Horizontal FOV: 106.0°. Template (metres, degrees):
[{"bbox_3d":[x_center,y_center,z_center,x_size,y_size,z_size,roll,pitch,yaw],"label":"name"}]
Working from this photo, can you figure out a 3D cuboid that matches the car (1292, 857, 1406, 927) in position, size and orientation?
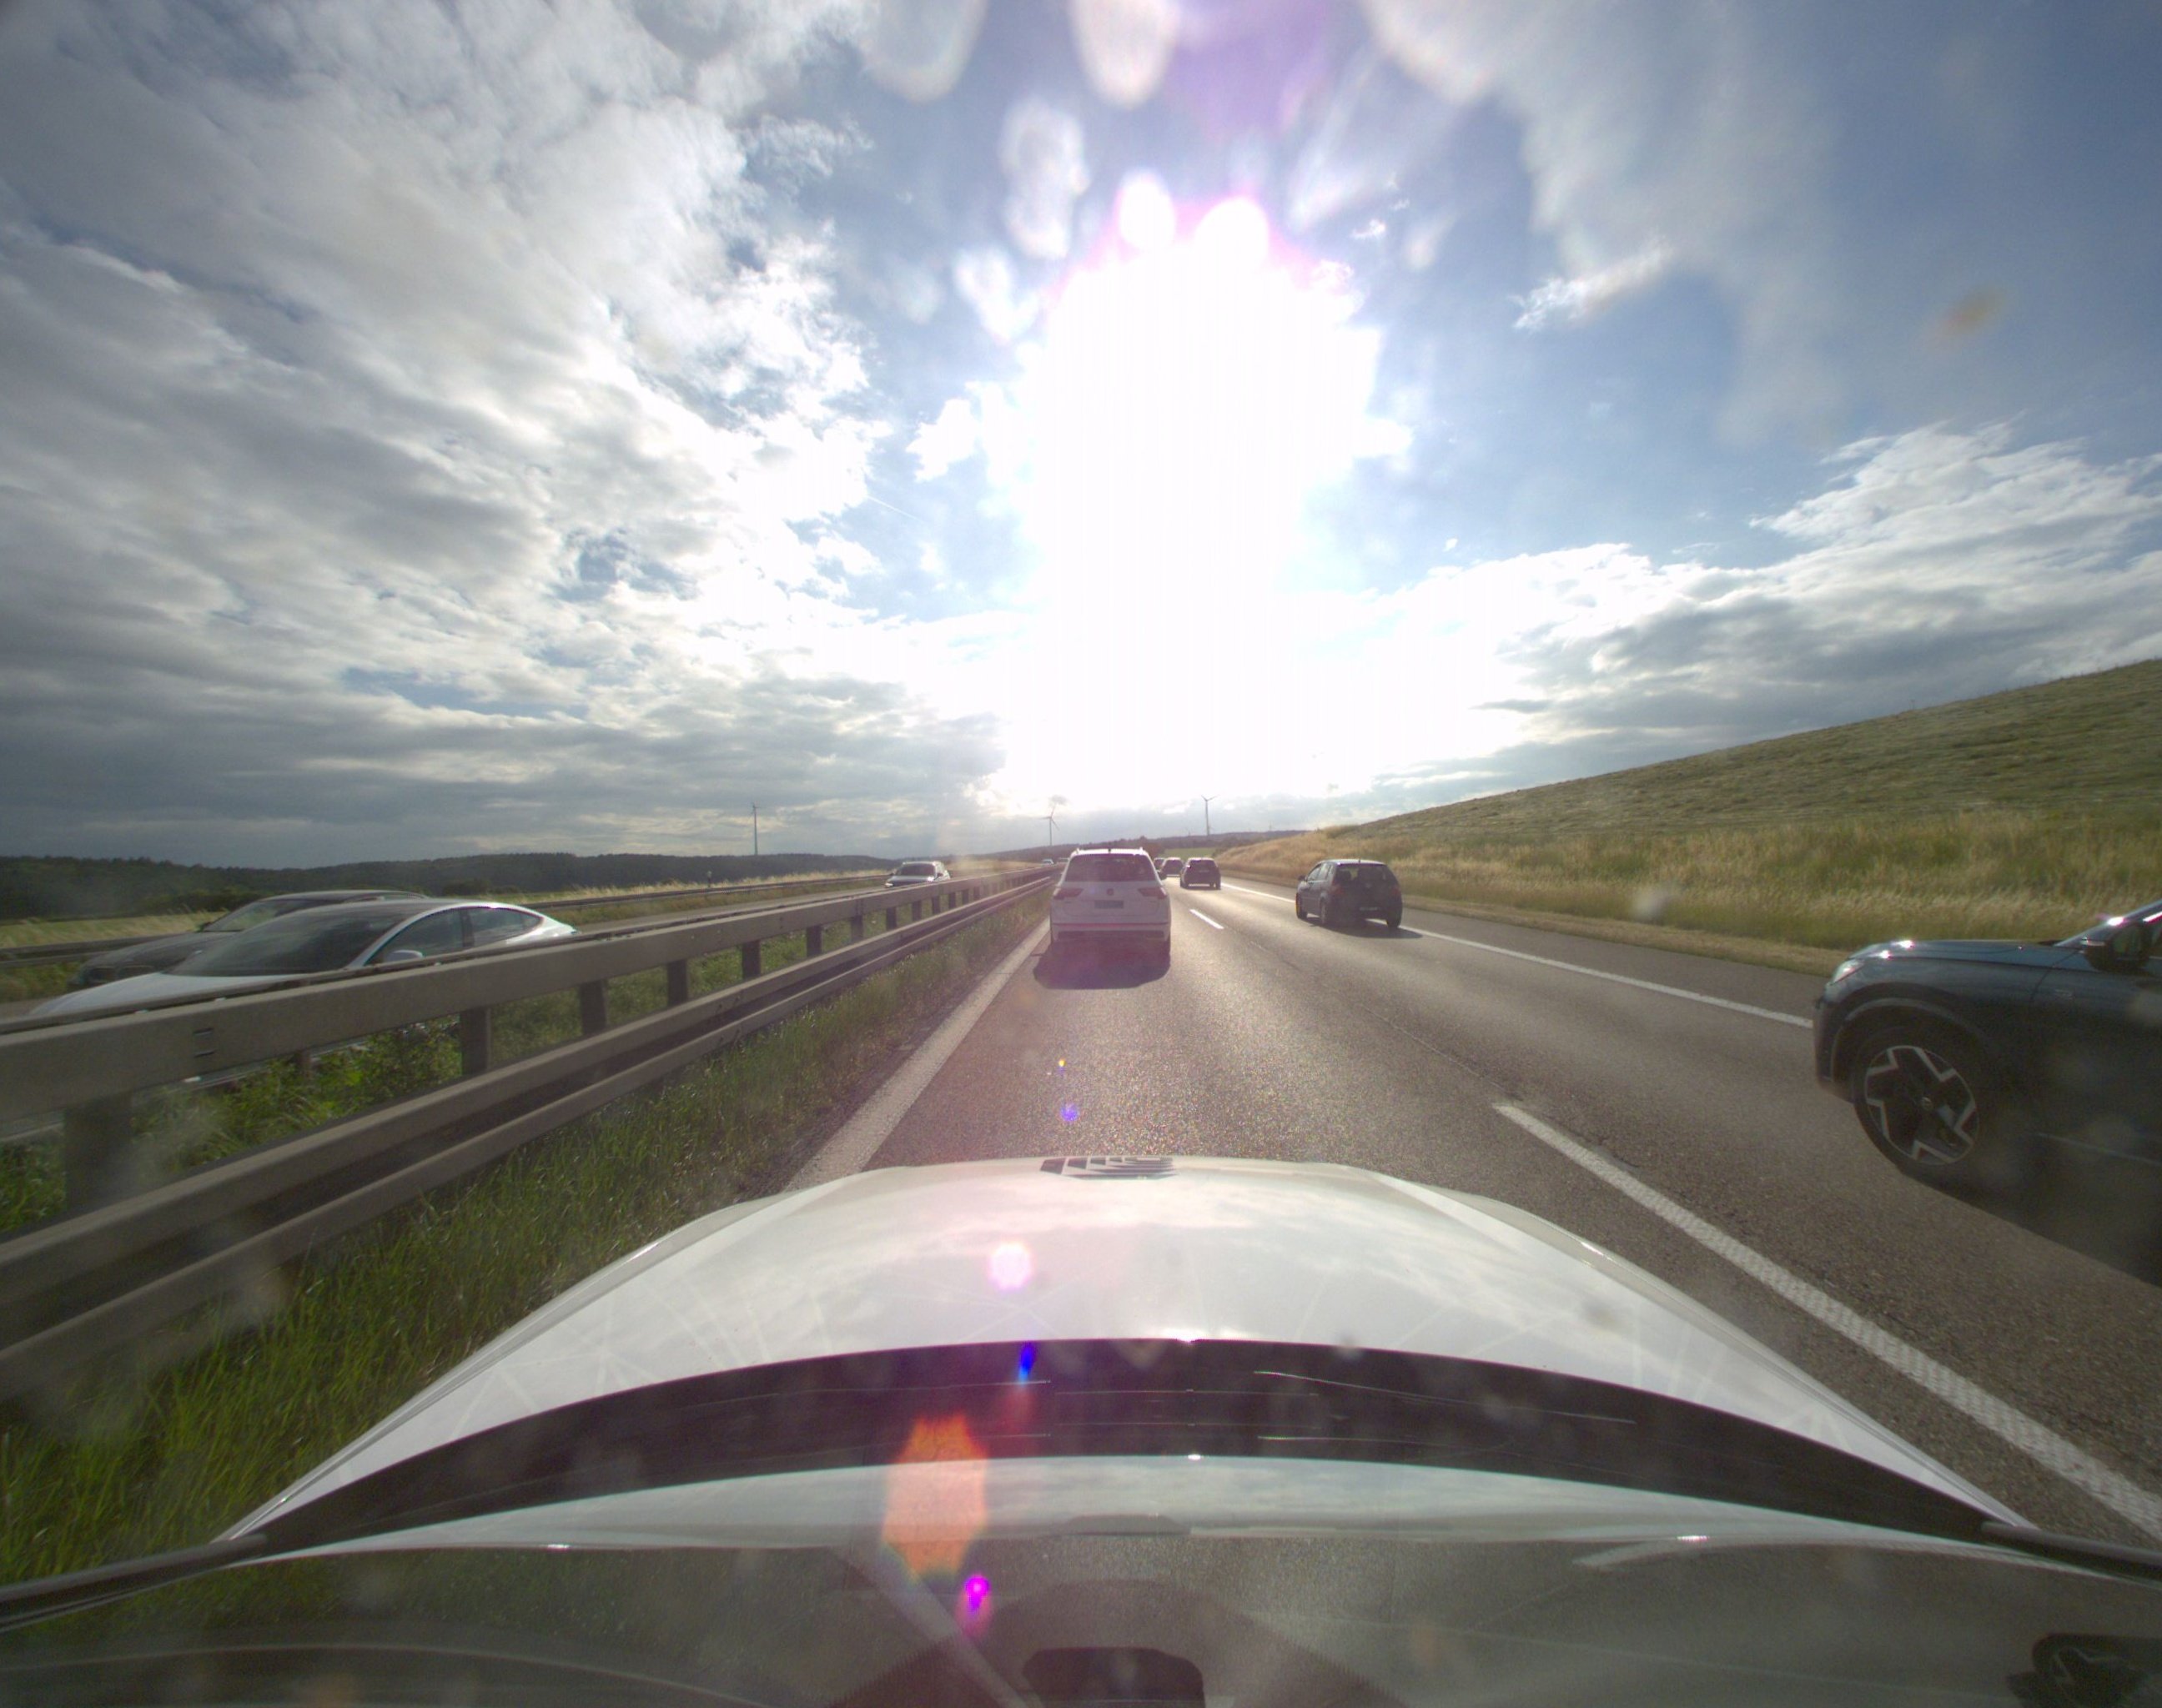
[{"bbox_3d":[5.985,0.807,18.564,1.598,1.420,3.676,-1,-1,4],"label":"car"}]

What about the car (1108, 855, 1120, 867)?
[{"bbox_3d":[4.715,0.966,117.357,1.697,1.650,4.001,-1,-1,2],"label":"car"}]

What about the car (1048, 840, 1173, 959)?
[{"bbox_3d":[0.493,0.675,13.621,1.763,1.676,4.001,-1,-1,2],"label":"car"}]

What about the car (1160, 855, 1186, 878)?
[{"bbox_3d":[7.130,0.963,63.257,1.697,1.650,4.001,-1,-1,2],"label":"car"}]

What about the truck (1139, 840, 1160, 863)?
[{"bbox_3d":[11.190,-0.366,133.030,3.170,3.594,11.142,-1,0,4],"label":"truck"}]

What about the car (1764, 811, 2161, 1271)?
[{"bbox_3d":[4.646,0.635,2.386,1.814,1.601,4.236,-1,-1,2],"label":"car"}]

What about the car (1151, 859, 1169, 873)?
[{"bbox_3d":[8.571,1.295,89.005,1.697,1.546,4.001,-1,-1,2],"label":"car"}]

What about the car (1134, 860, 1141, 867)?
[{"bbox_3d":[13.963,2.382,201.622,1.696,1.546,4.004,-1,-1,4],"label":"car"}]

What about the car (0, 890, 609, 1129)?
[{"bbox_3d":[-6.858,1.205,8.024,1.743,1.521,4.480,-1,-1,1],"label":"car"}]

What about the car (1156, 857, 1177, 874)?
[{"bbox_3d":[8.279,1.085,78.815,1.697,1.546,4.001,-1,-1,2],"label":"car"}]

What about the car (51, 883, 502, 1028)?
[{"bbox_3d":[-10.543,1.208,11.301,1.743,1.479,4.480,-1,-1,1],"label":"car"}]

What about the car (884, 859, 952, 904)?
[{"bbox_3d":[-6.275,1.028,31.810,1.743,1.603,4.266,-1,-1,1],"label":"car"}]

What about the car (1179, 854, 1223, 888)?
[{"bbox_3d":[5.881,0.824,40.331,1.697,1.546,4.001,-1,-1,2],"label":"car"}]

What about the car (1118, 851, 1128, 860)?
[{"bbox_3d":[7.658,0.309,147.445,1.697,1.546,4.001,-1,-1,2],"label":"car"}]
